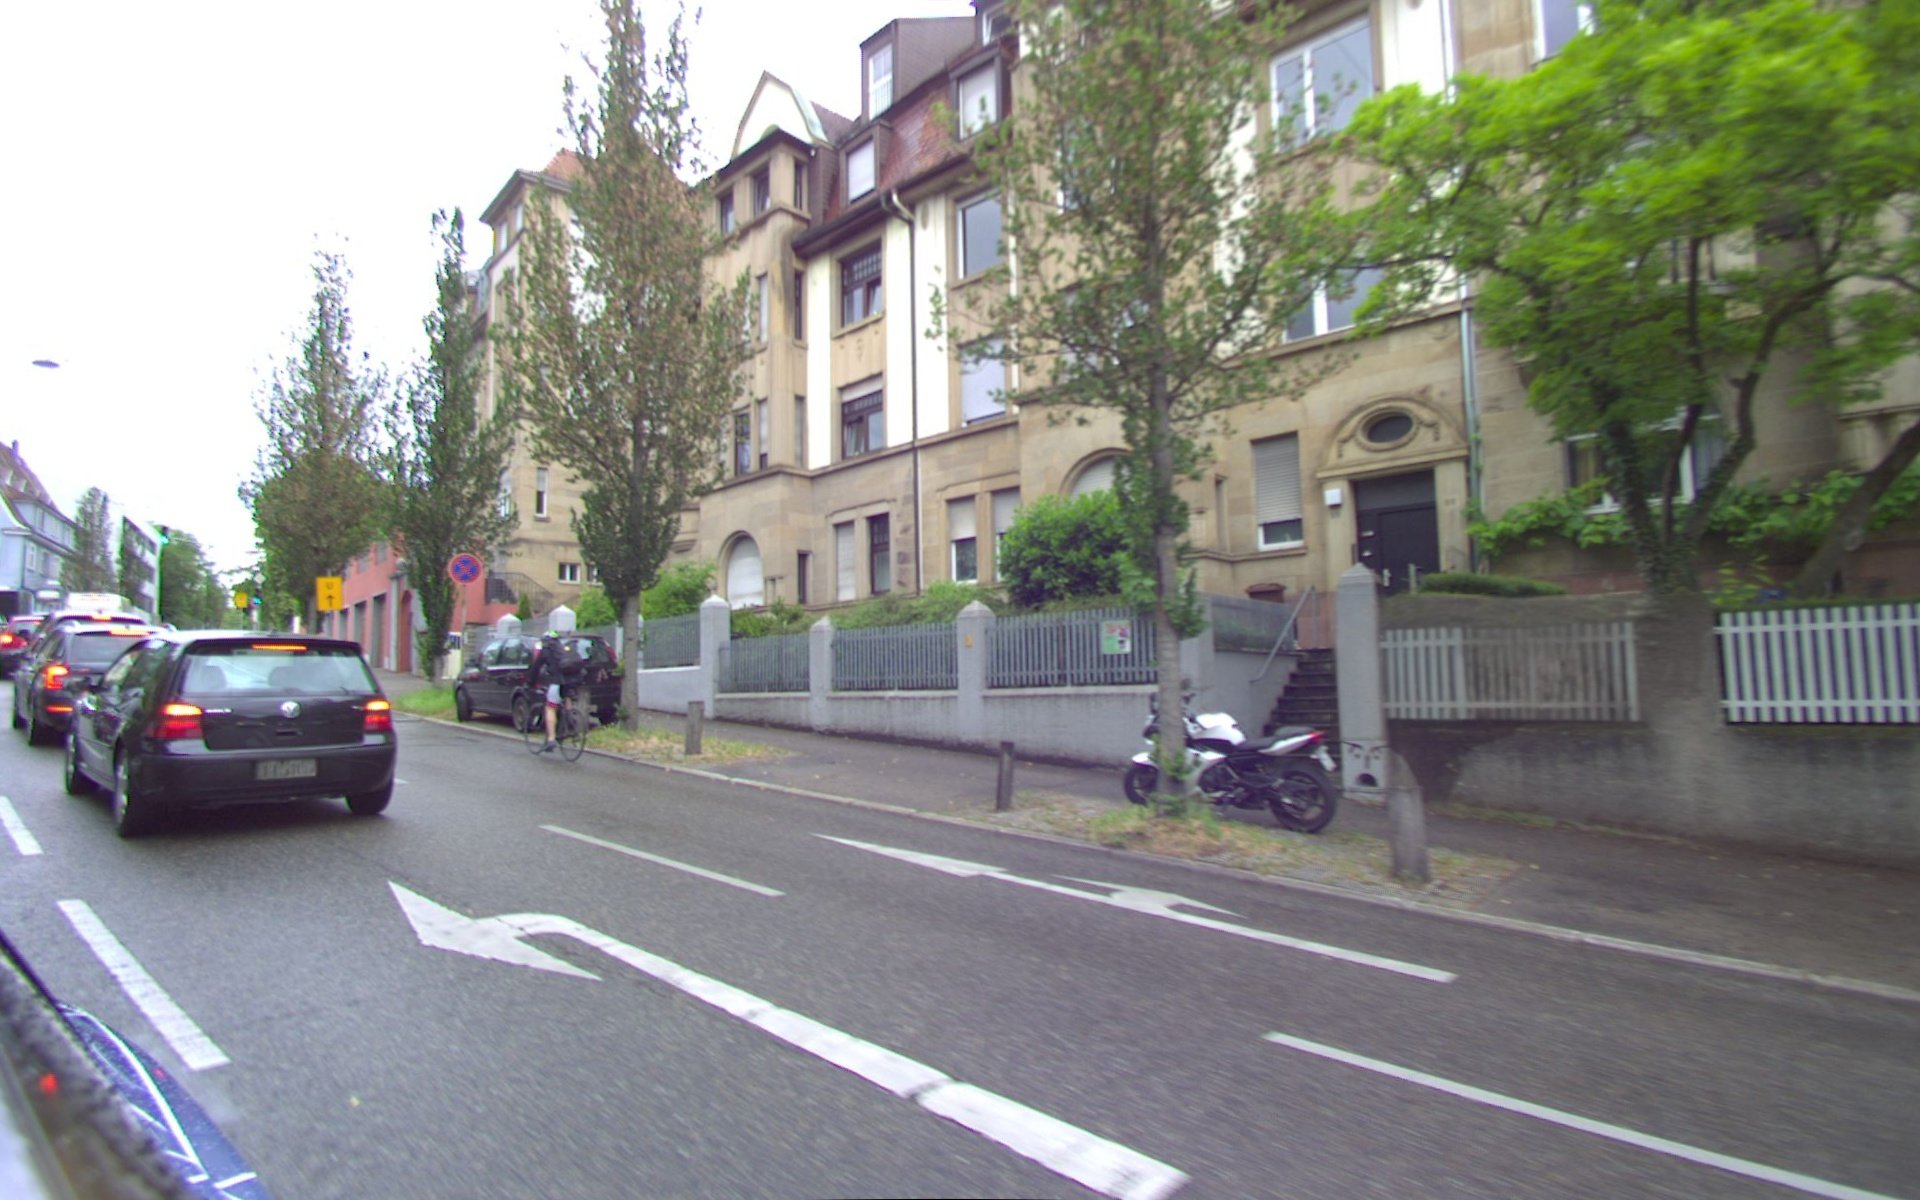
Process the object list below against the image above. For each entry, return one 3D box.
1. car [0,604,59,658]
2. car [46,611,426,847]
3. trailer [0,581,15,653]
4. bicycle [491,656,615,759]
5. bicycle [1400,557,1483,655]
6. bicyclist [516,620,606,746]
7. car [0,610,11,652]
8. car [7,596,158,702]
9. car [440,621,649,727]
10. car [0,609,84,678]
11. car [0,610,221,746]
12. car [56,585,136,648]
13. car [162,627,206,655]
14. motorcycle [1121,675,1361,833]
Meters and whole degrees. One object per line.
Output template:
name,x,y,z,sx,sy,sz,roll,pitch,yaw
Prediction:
car,-32.446,1.122,35.094,1.598,1.675,4.119,6,-7,-41
car,-5.983,0.875,8.188,3.885,1.442,1.743,-2,-4,43
trailer,-42.354,0.767,43.855,1.938,3.065,2.367,2,-3,-42
bicycle,-5.383,1.377,13.331,1.981,1.245,0.648,-3,-5,41
bicycle,6.831,0.126,14.307,0.656,1.245,1.956,-2,-5,37
bicyclist,-5.208,1.069,13.209,0.990,1.569,0.648,-3,-5,41
car,-40.214,1.301,41.404,1.897,1.664,4.139,2,-3,-42
car,-16.253,0.905,18.680,4.115,1.721,1.633,-2,-6,44
car,-7.362,1.220,17.788,3.827,1.608,1.974,-2,-1,43
car,-23.335,1.122,25.380,4.115,1.535,1.600,-3,-7,44
car,-11.145,0.952,13.171,4.115,1.491,1.692,-1,-6,44
car,-39.900,0.859,46.875,2.102,2.525,5.421,6,-6,-35
car,-63.158,3.355,82.436,2.101,2.042,5.424,5,-6,-31
motorcycle,2.490,1.318,9.117,1.978,1.245,0.649,-2,-5,36
